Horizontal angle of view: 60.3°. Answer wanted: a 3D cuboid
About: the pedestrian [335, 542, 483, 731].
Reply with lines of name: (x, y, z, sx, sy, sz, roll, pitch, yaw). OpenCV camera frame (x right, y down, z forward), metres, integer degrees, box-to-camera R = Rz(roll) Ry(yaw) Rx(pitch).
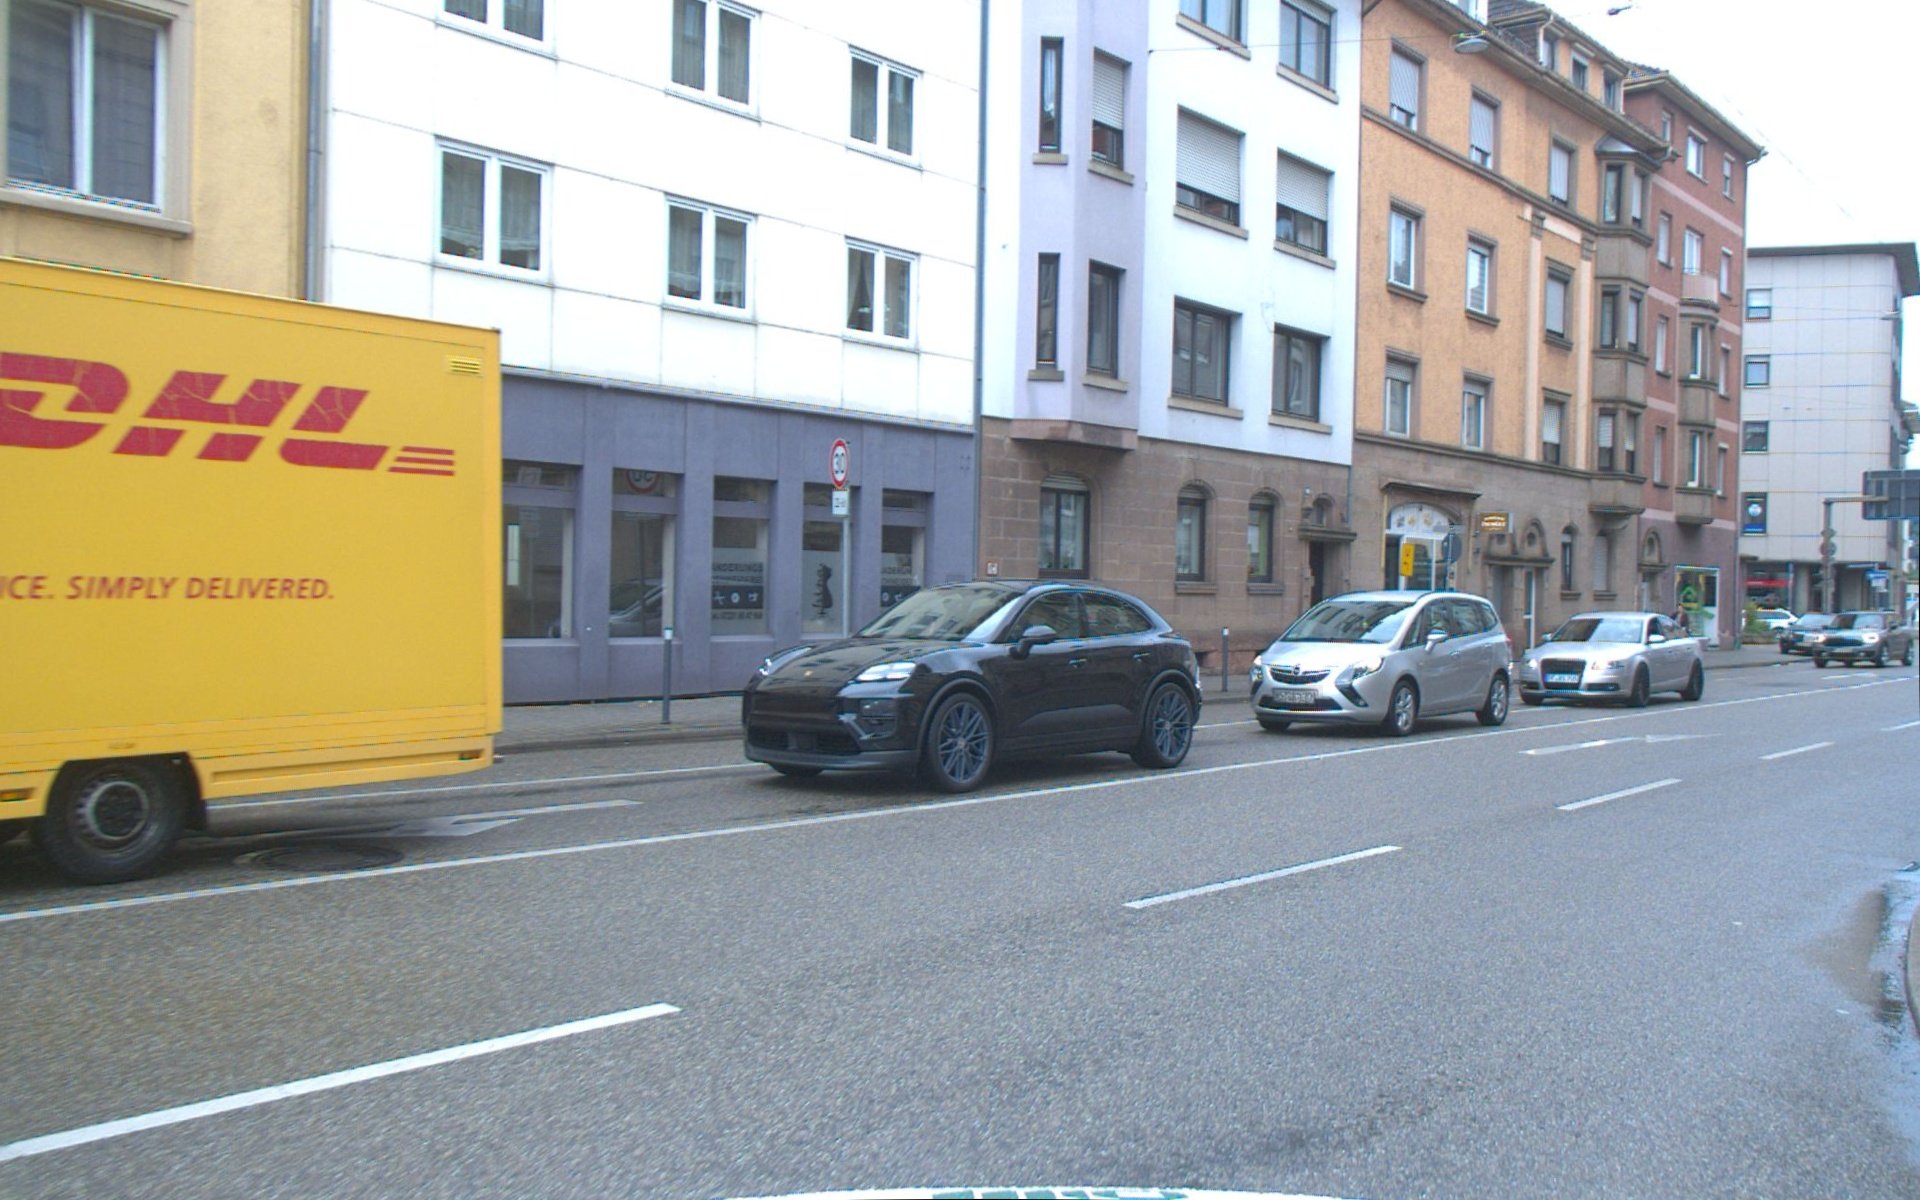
pedestrian: (-5.591, 0.355, 16.802, 0.879, 1.801, 1.028, 5, 2, 38)

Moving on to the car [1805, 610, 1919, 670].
car: (25.852, 1.134, 47.261, 1.953, 1.623, 4.310, 1, -1, 43)

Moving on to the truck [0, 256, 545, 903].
truck: (-5.404, -0.108, 7.354, 2.193, 2.798, 6.990, 1, 0, 39)

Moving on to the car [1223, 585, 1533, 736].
car: (5.165, 0.671, 20.024, 1.913, 1.611, 4.497, 1, 0, 39)

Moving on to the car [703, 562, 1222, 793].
car: (0.204, 0.560, 13.929, 1.913, 1.611, 4.581, 1, 0, 39)

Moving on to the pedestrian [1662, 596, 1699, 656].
pedestrian: (21.143, 0.759, 48.526, 0.826, 1.708, 0.852, 4, 1, 28)

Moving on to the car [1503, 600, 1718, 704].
car: (10.527, 0.791, 26.579, 1.913, 1.496, 4.536, 1, 0, 39)

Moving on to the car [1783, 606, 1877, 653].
car: (30.048, 0.981, 57.059, 1.823, 1.421, 4.766, 5, 3, 40)

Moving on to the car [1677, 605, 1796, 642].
car: (34.989, 1.053, 74.675, 4.529, 1.559, 1.908, 1, 0, 12)
